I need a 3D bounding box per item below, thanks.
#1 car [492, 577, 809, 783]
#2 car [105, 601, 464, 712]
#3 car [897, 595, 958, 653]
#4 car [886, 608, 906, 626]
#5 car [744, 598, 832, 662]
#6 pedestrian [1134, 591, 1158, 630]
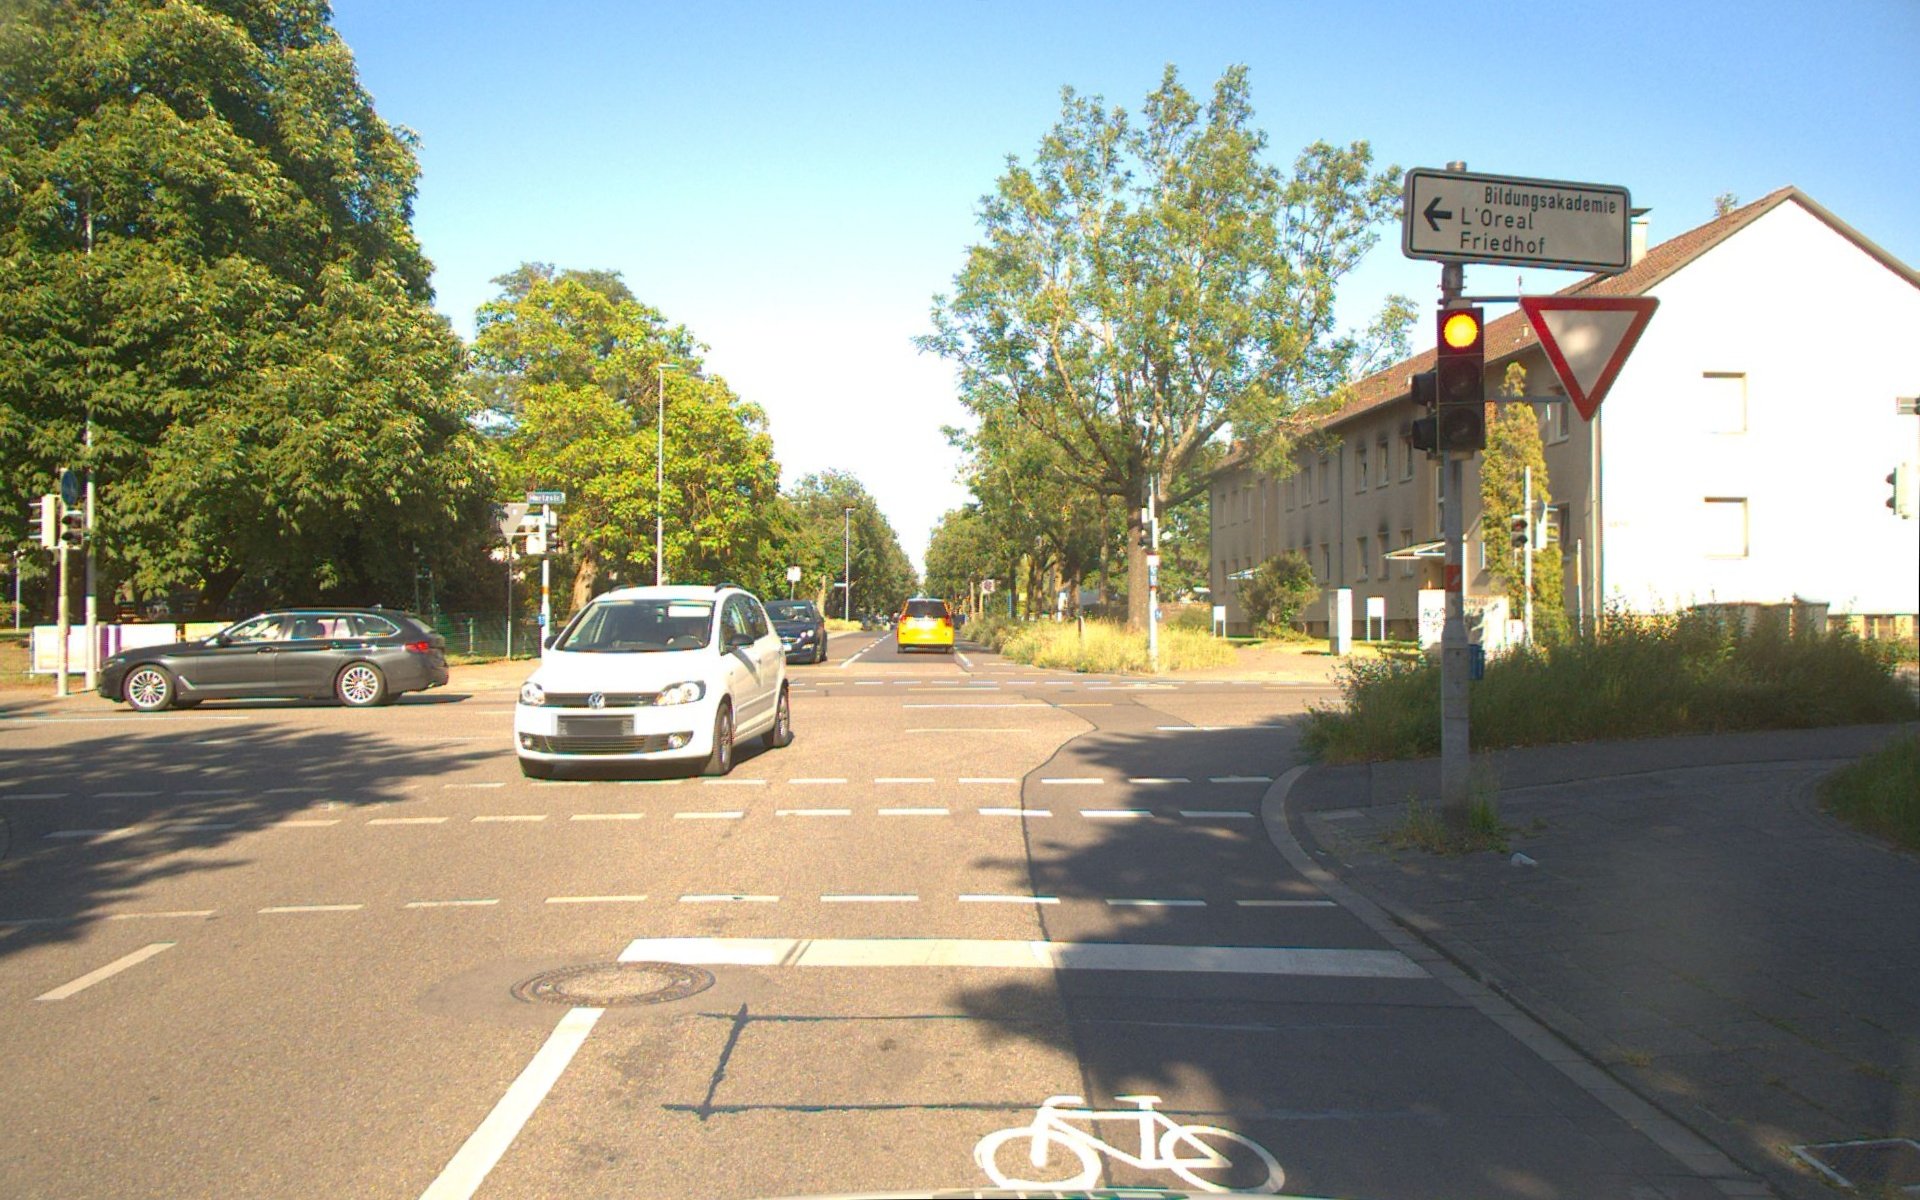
[{"bbox_3d":[-2.614,0.602,14.988,1.714,1.590,4.123,-1,1,6],"label":"car"},{"bbox_3d":[-10.045,0.805,24.971,4.642,1.455,1.995,-1,0,-11],"label":"car"},{"bbox_3d":[-0.947,0.691,49.051,1.716,1.610,3.999,1,0,-1],"label":"car"},{"bbox_3d":[-5.859,1.552,151.364,1.722,1.653,3.268,0,0,0],"label":"car"},{"bbox_3d":[-3.956,0.663,38.552,1.676,1.410,3.471,0,0,0],"label":"car"},{"bbox_3d":[7.537,0.424,67.082,0.825,1.519,0.924,2,0,-1],"label":"pedestrian"}]
